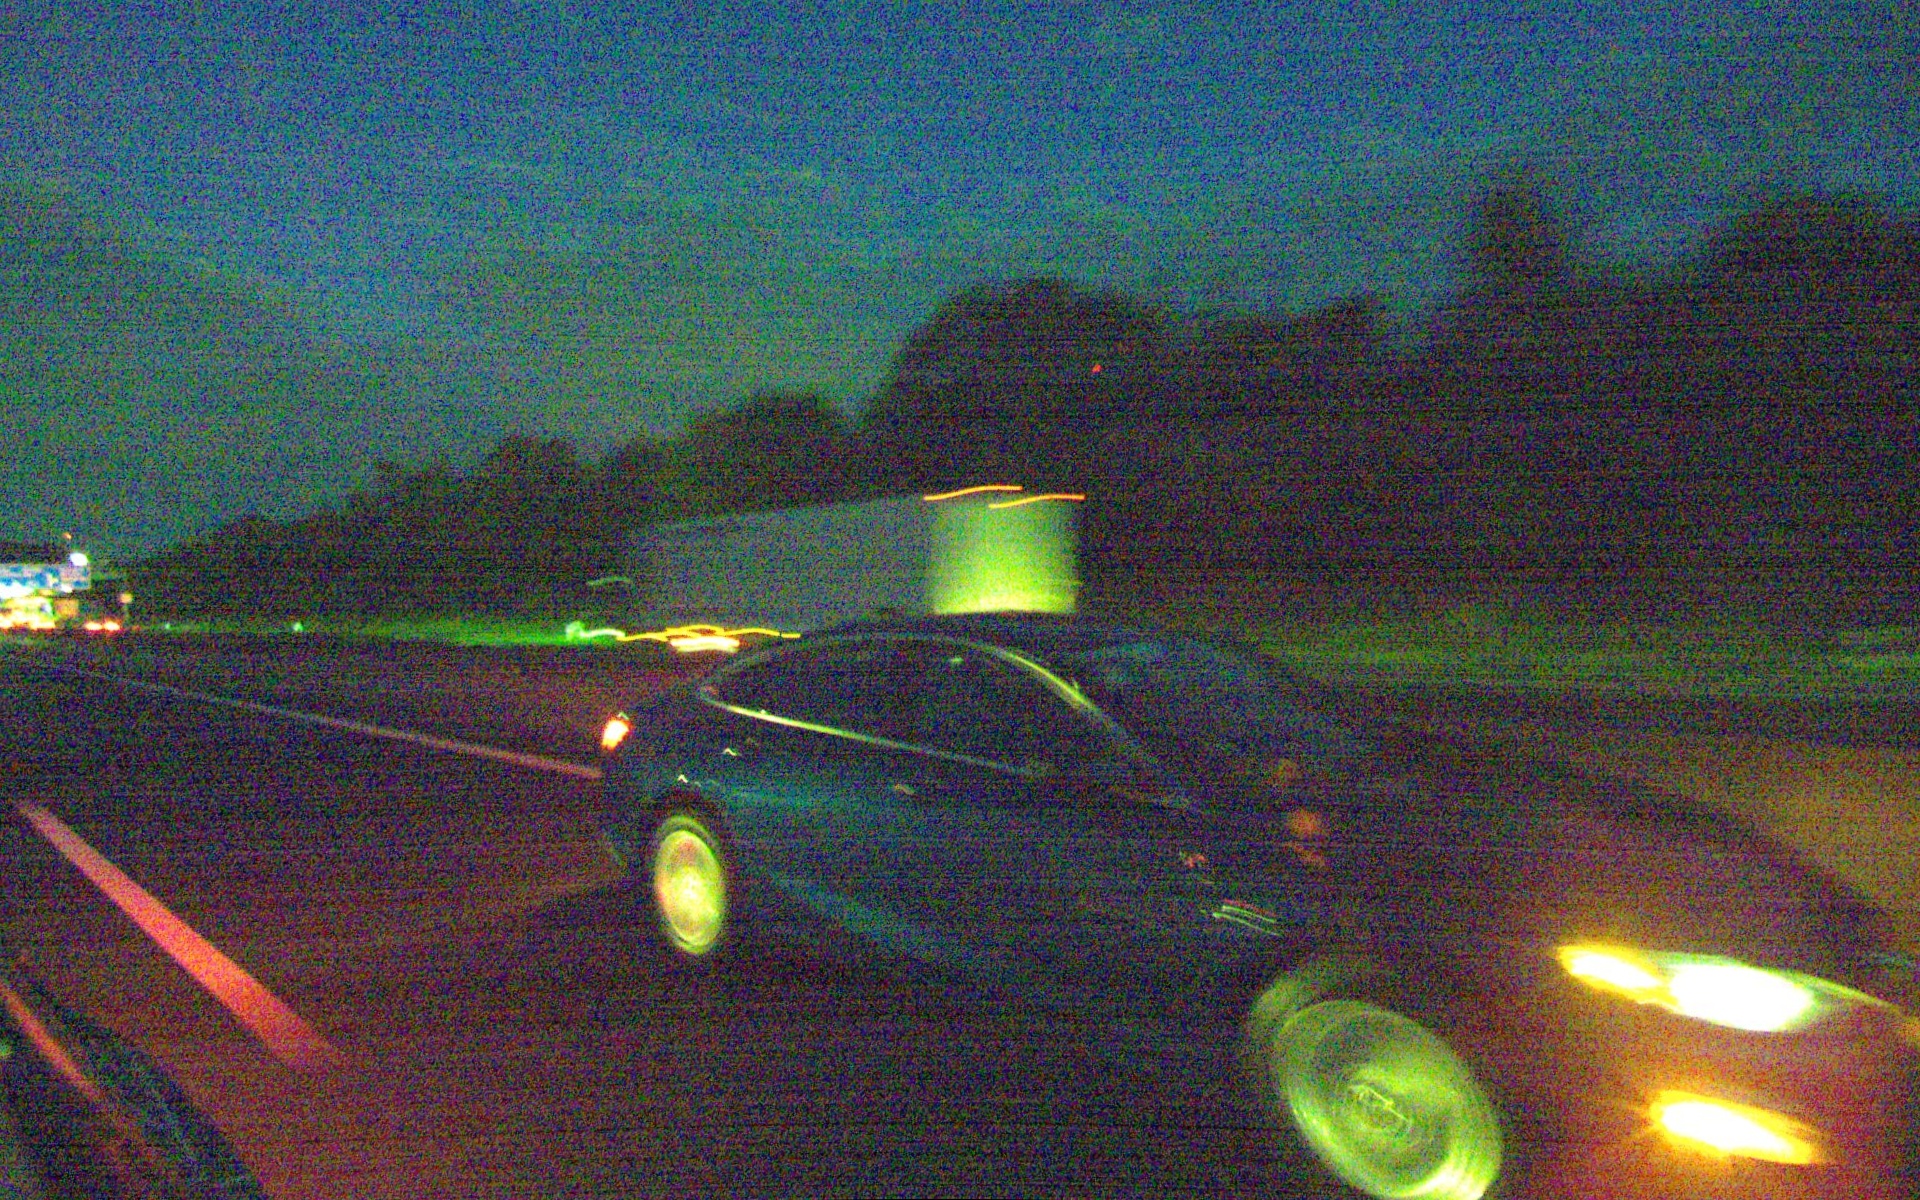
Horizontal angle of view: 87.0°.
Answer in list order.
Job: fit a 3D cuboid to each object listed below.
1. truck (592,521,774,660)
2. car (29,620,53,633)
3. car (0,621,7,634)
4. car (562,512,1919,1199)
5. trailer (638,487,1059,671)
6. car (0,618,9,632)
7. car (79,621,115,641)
[{"bbox_3d":[-8.899,-0.225,32.209,5.857,4.010,2.824,-1,-1,41],"label":"truck"},{"bbox_3d":[-116.619,3.358,128.362,4.209,1.478,1.988,-1,-1,44],"label":"car"},{"bbox_3d":[-124.273,3.532,130.311,4.483,1.682,1.988,-1,-1,43],"label":"car"},{"bbox_3d":[0.813,0.677,3.638,5.651,1.530,1.971,-2,-1,44],"label":"car"},{"bbox_3d":[-3.794,-0.341,27.714,13.879,4.010,2.824,-1,-1,41],"label":"trailer"},{"bbox_3d":[-184.022,4.837,194.000,6.215,2.537,2.078,-1,-1,43],"label":"car"},{"bbox_3d":[-77.403,2.780,90.772,4.949,1.682,1.988,-2,-1,43],"label":"car"}]
